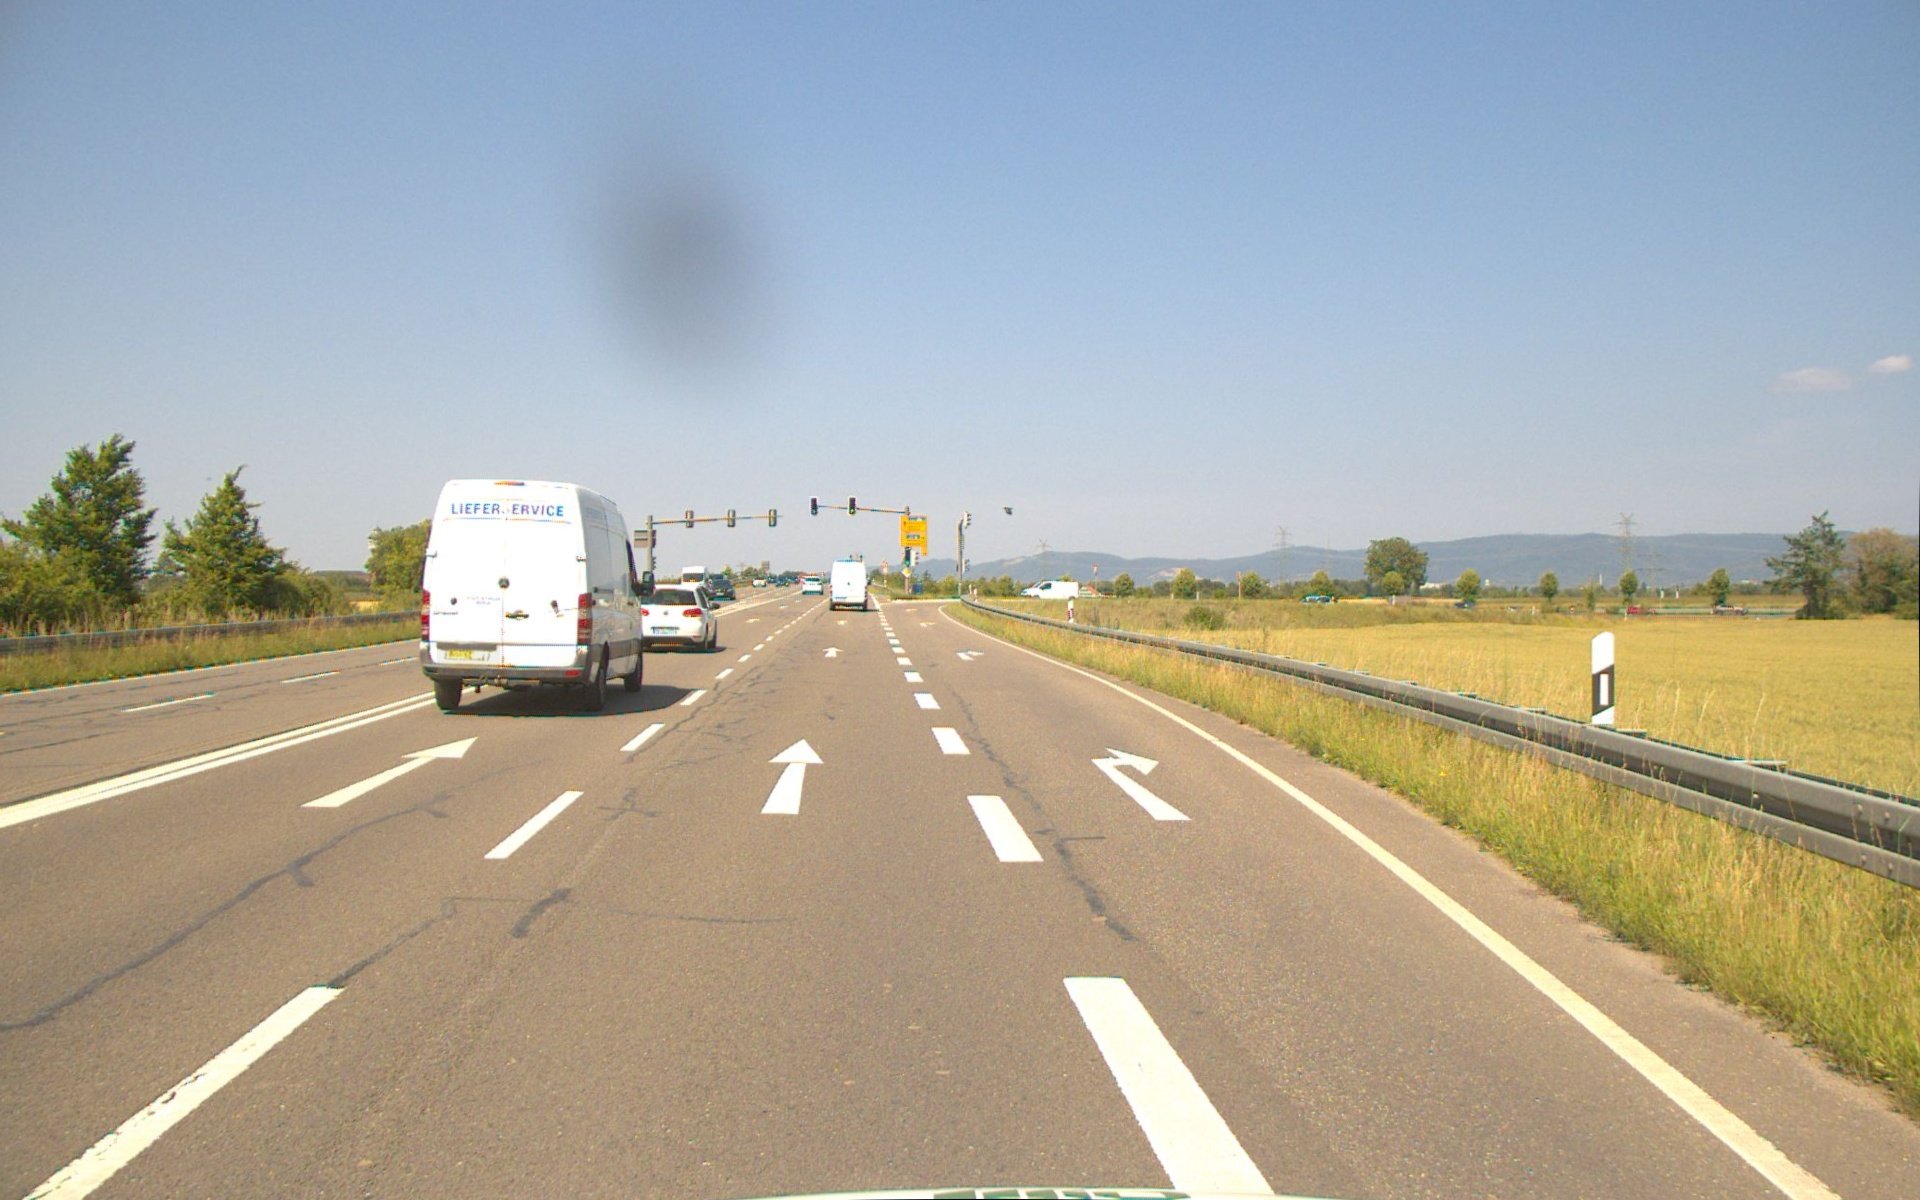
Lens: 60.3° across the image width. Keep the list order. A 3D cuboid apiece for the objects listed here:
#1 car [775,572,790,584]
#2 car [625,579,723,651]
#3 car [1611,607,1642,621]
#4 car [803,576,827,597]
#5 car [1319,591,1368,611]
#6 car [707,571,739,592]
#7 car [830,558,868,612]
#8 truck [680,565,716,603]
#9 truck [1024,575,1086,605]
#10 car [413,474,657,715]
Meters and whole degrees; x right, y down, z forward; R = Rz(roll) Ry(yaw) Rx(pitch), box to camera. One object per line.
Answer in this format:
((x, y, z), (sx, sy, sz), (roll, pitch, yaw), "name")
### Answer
((-25.085, -3.109, 233.582), (1.602, 1.512, 3.999), (2, -1, -1), "car")
((-6.483, 0.297, 37.869), (1.764, 1.534, 4.193), (1, 1, -4), "car")
((74.899, 1.604, 185.915), (3.442, 1.512, 1.630), (2, -1, -34), "car")
((-12.629, -1.139, 144.088), (1.954, 1.733, 4.272), (2, -1, -3), "car")
((34.225, 0.082, 147.716), (3.940, 1.713, 1.982), (2, -1, -28), "car")
((-17.046, -1.321, 118.994), (1.820, 1.448, 3.998), (1, -1, -3), "car")
((-5.803, -0.794, 86.580), (1.954, 2.742, 4.966), (0, 0, -4), "car")
((-21.600, -1.280, 136.465), (2.251, 3.009, 5.280), (1, -1, -3), "truck")
((7.943, -0.805, 138.265), (4.769, 2.361, 1.990), (2, -1, -19), "truck")
((-5.234, -0.092, 21.207), (1.999, 2.665, 5.737), (0, 1, -4), "car")
